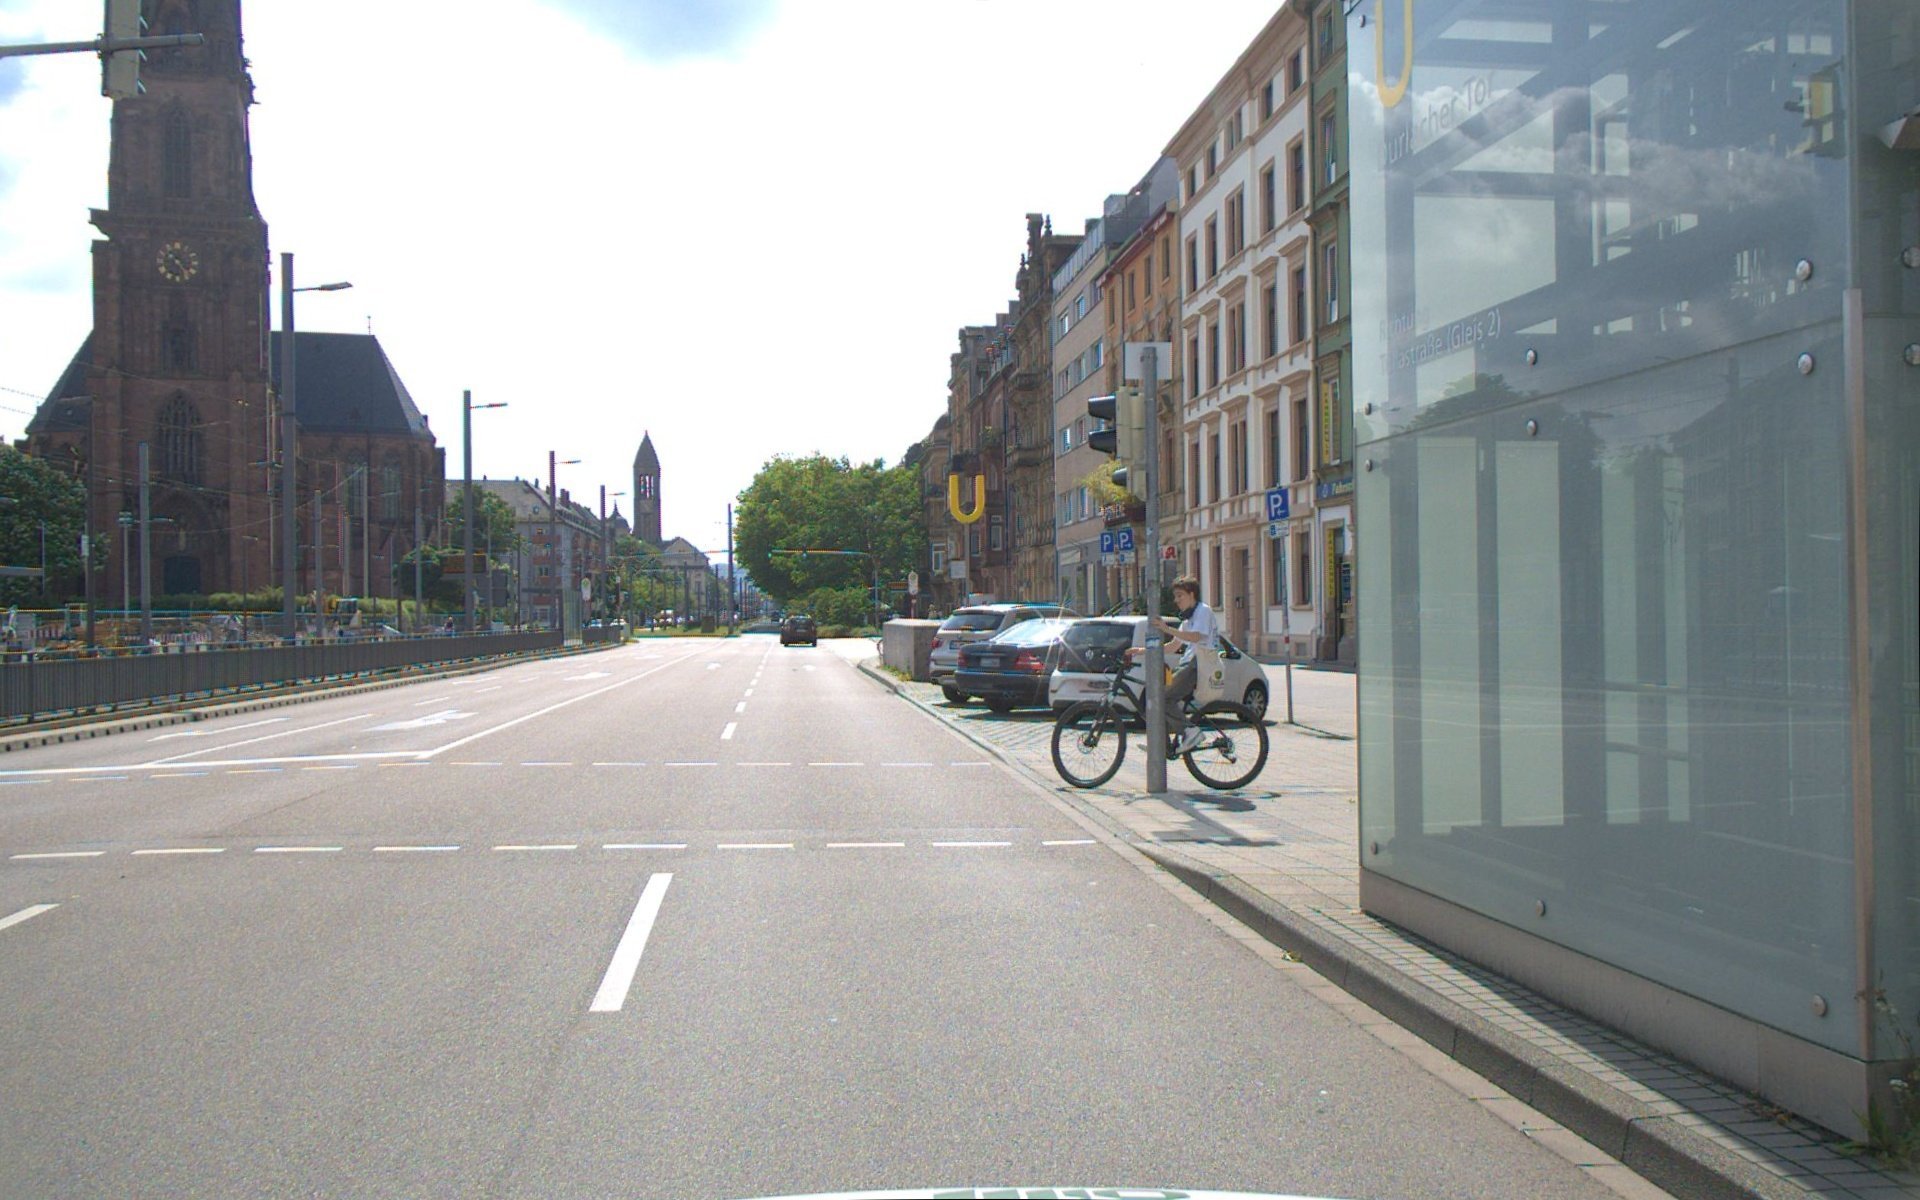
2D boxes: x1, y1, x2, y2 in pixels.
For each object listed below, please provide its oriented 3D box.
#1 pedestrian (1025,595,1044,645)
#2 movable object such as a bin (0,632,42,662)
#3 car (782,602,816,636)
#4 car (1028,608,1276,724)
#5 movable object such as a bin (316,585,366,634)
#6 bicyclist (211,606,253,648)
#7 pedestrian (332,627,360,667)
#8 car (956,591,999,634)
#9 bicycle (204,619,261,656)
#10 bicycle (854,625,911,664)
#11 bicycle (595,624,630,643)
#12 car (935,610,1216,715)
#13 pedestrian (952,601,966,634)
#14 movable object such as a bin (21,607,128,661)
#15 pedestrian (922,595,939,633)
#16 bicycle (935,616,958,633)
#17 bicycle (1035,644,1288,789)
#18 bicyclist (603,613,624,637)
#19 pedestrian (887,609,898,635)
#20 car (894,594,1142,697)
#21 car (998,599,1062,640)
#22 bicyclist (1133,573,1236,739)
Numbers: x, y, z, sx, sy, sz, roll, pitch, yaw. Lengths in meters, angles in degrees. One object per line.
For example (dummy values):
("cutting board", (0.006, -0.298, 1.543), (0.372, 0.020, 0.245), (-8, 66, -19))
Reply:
("pedestrian", (3.230, 0.866, 72.048), (0.707, 2.136, 0.785), (-1, 1, -6))
("movable object such as a bin", (-49.851, 2.464, 86.831), (1.963, 1.529, 5.126), (-1, -1, -19))
("car", (-8.838, 1.017, 90.647), (1.657, 1.741, 3.603), (-1, 2, -8))
("car", (2.731, 0.883, 23.113), (1.748, 1.479, 3.474), (-1, -2, 43))
("movable object such as a bin", (-42.149, 0.597, 112.735), (1.953, 3.159, 3.999), (-1, 2, -2))
("bicyclist", (-30.223, 1.105, 68.669), (1.155, 1.713, 1.681), (-1, -1, -8))
("pedestrian", (-32.318, 2.478, 87.083), (1.044, 2.049, 1.050), (-1, -1, -3))
("car", (1.069, 0.778, 102.628), (1.955, 2.570, 5.880), (-1, 0, -6))
("bicycle", (-30.245, 1.551, 68.833), (1.171, 1.452, 3.686), (-1, -1, -8))
("bicycle", (-2.643, 1.501, 56.496), (1.895, 1.259, 0.439), (-1, 1, -20))
("bicycle", (-21.819, 2.094, 103.946), (1.976, 1.146, 0.931), (-1, -1, 4))
("car", (1.881, 0.905, 25.741), (1.906, 1.486, 4.568), (-1, -1, 44))
("pedestrian", (-0.075, 1.030, 97.257), (0.651, 1.869, 0.692), (-1, -1, -13))
("movable object such as a bin", (-50.903, 1.949, 95.162), (5.050, 2.962, 1.993), (-1, -1, -14))
("pedestrian", (-1.525, 0.726, 85.368), (0.654, 1.936, 0.689), (-1, -1, -25))
("bicycle", (-1.010, 1.855, 126.532), (1.711, 1.290, 0.466), (-1, 1, -3))
("bicycle", (1.699, 0.961, 13.984), (2.050, 1.125, 0.544), (0, 1, 21))
("bicyclist", (-21.798, 1.568, 104.008), (1.066, 1.462, 0.825), (-1, -1, 4))
("pedestrian", (-5.341, 1.719, 130.851), (0.753, 2.049, 0.714), (-1, -1, -6))
("car", (1.118, 0.756, 29.548), (2.024, 1.676, 4.570), (-1, 0, 41))
("car", (3.361, 0.985, 80.359), (1.958, 1.895, 4.738), (-1, -1, -12))
("bicyclist", (1.886, 0.455, 13.884), (0.765, 1.359, 0.395), (0, 1, 23))
